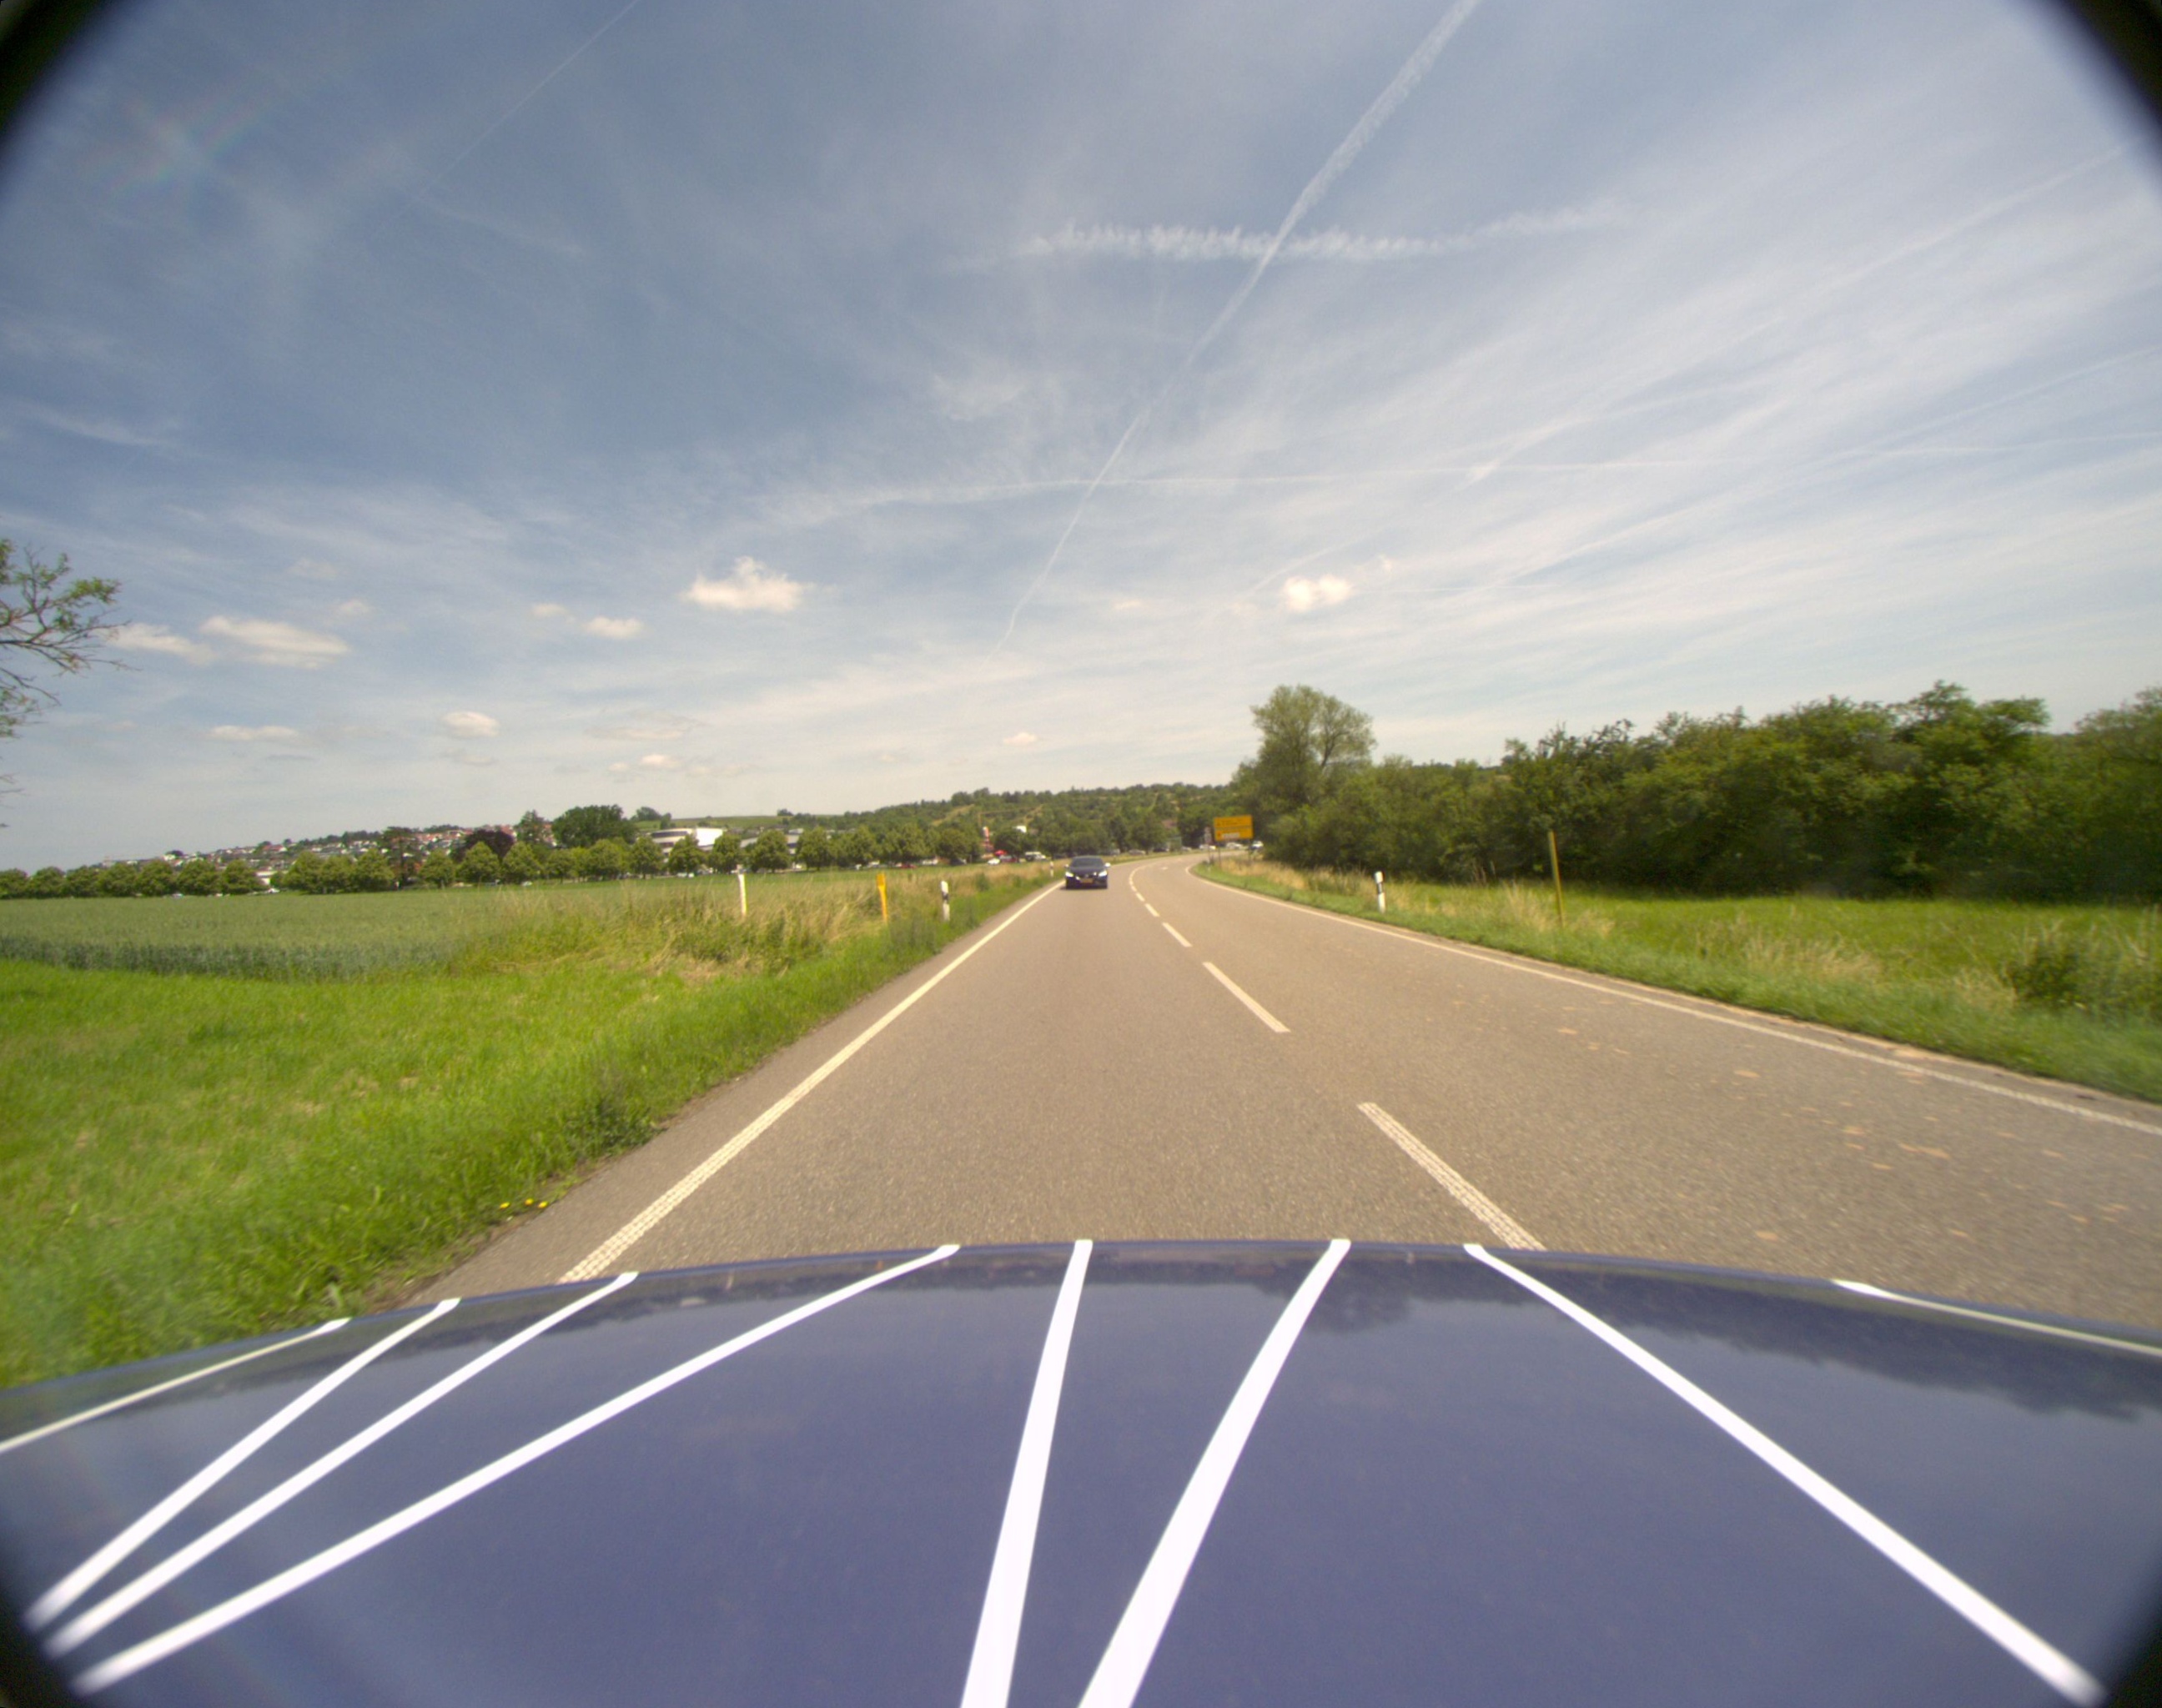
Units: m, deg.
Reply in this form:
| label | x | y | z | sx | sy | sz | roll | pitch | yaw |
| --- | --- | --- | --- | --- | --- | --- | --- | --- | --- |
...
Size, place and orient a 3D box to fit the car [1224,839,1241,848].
| label | x | y | z | sx | sy | sz | roll | pitch | yaw |
| --- | --- | --- | --- | --- | --- | --- | --- | --- | --- |
| car | 38.573 | -2.661 | 193.330 | 3.989 | 2.002 | 1.891 | -1 | 1 | 30 |

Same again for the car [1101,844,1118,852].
| label | x | y | z | sx | sy | sz | roll | pitch | yaw |
| --- | --- | --- | --- | --- | --- | --- | --- | --- | --- |
| car | 7.623 | -1.657 | 203.048 | 4.467 | 2.002 | 1.887 | -1 | 1 | 1 |

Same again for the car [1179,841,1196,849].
| label | x | y | z | sx | sy | sz | roll | pitch | yaw |
| --- | --- | --- | --- | --- | --- | --- | --- | --- | --- |
| car | 28.031 | -2.457 | 199.222 | 3.990 | 2.002 | 1.891 | -1 | 1 | 27 |

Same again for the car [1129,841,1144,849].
| label | x | y | z | sx | sy | sz | roll | pitch | yaw |
| --- | --- | --- | --- | --- | --- | --- | --- | --- | --- |
| car | 14.797 | -2.487 | 203.000 | 3.994 | 2.002 | 1.889 | -1 | 1 | 8 |

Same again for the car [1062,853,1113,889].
| label | x | y | z | sx | sy | sz | roll | pitch | yaw |
| --- | --- | --- | --- | --- | --- | --- | --- | --- | --- |
| car | 0.355 | 0.702 | 33.793 | 1.784 | 1.440 | 4.606 | -1 | 1 | 6 |

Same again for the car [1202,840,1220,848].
| label | x | y | z | sx | sy | sz | roll | pitch | yaw |
| --- | --- | --- | --- | --- | --- | --- | --- | --- | --- |
| car | 33.517 | -2.528 | 196.138 | 3.989 | 2.002 | 1.891 | -1 | 1 | 30 |

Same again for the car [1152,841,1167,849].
| label | x | y | z | sx | sy | sz | roll | pitch | yaw |
| --- | --- | --- | --- | --- | --- | --- | --- | --- | --- |
| car | 20.906 | -2.482 | 202.344 | 3.994 | 2.002 | 1.889 | -1 | 1 | 8 |

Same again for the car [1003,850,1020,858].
| label | x | y | z | sx | sy | sz | roll | pitch | yaw |
| --- | --- | --- | --- | --- | --- | --- | --- | --- | --- |
| car | -18.917 | -0.028 | 205.693 | 4.469 | 2.002 | 1.887 | -1 | 1 | -4 |

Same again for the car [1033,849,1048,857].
| label | x | y | z | sx | sy | sz | roll | pitch | yaw |
| --- | --- | --- | --- | --- | --- | --- | --- | --- | --- |
| car | -11.040 | -0.282 | 205.722 | 3.998 | 2.002 | 1.887 | -1 | 1 | -2 |
